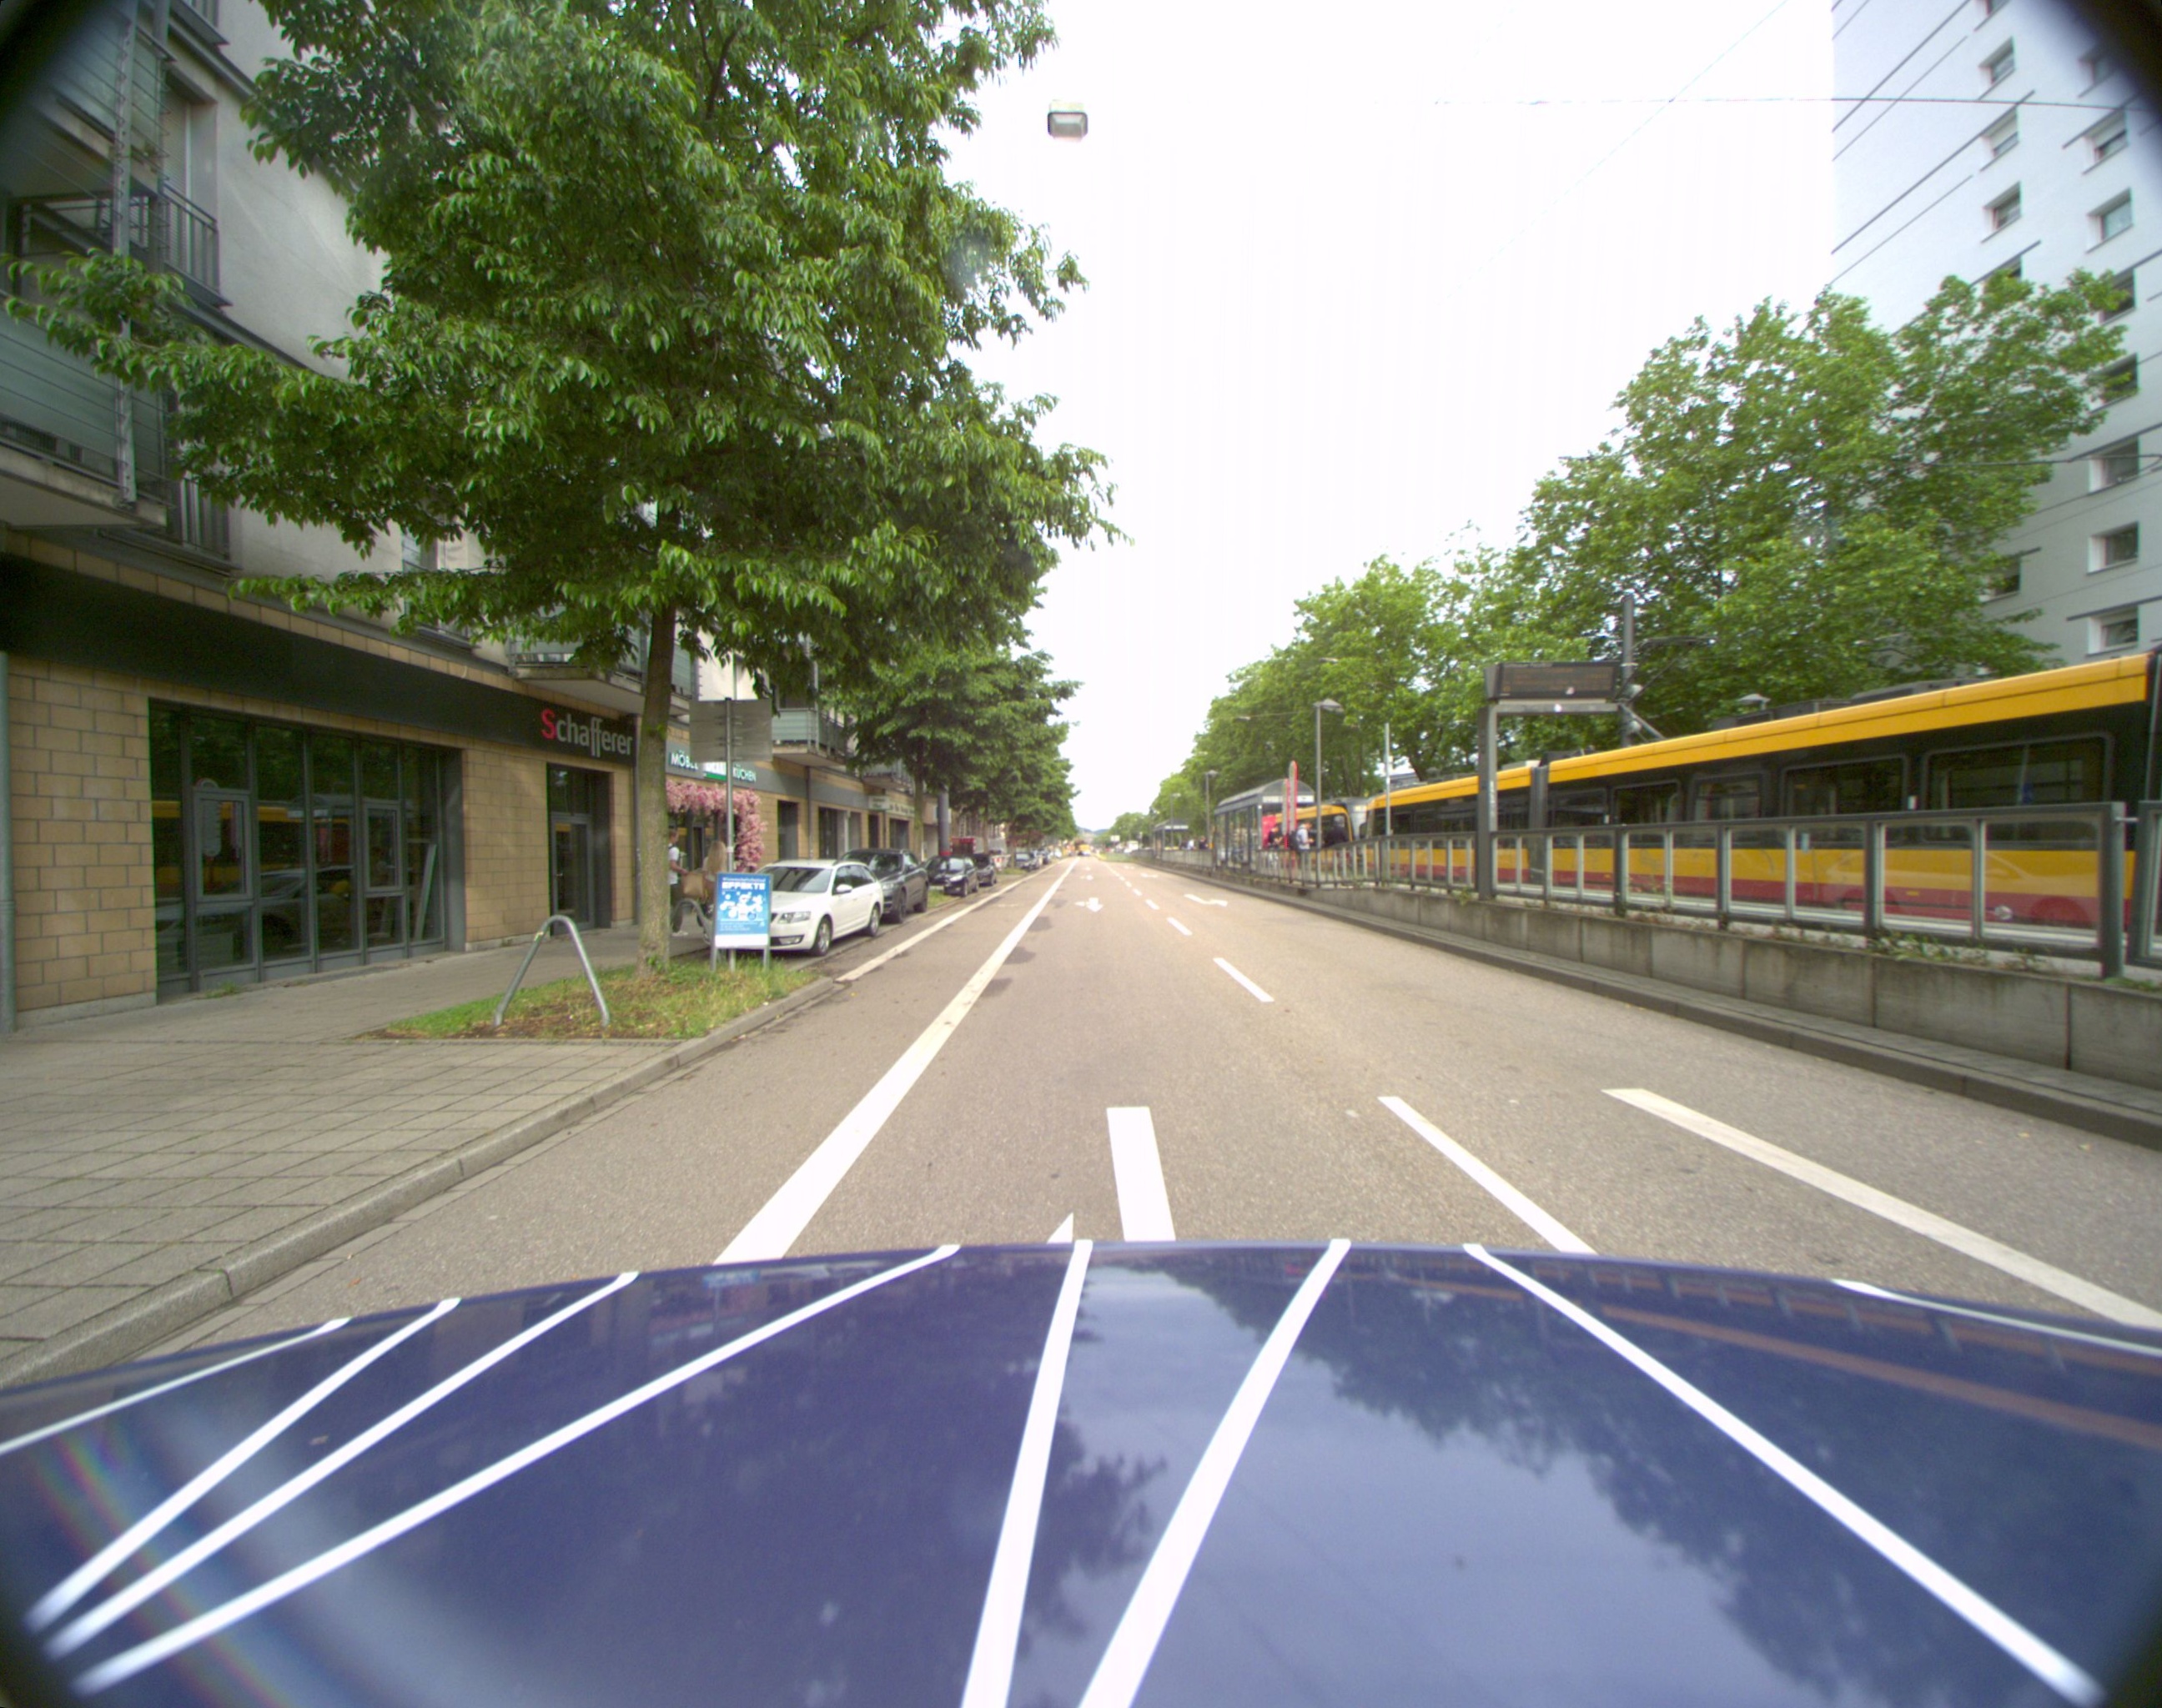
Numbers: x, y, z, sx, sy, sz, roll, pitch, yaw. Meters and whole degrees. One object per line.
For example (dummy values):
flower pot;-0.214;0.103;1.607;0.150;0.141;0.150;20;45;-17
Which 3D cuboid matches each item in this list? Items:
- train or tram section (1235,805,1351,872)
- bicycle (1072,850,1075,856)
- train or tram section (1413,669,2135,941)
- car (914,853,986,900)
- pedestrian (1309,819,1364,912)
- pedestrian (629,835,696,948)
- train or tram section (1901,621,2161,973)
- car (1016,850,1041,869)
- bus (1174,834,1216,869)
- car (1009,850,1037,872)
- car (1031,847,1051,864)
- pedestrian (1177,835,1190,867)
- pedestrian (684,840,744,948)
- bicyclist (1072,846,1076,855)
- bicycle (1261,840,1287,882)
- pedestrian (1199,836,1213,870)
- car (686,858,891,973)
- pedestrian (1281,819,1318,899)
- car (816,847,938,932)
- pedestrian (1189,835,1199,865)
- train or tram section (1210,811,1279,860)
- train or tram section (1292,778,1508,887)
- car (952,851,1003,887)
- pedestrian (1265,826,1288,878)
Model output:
train or tram section;13.001;-0.953;48.638;3.067;3.511;15.769;-2;1;1
bicycle;-1.535;-0.201;157.774;0.613;1.116;2.050;-2;1;1
train or tram section;12.624;-0.762;17.803;3.067;3.511;15.292;-2;1;1
car;-4.620;0.737;27.377;1.680;1.433;4.407;2;1;2
pedestrian;5.656;0.243;16.818;0.756;2.002;0.816;-3;2;-36
pedestrian;-7.123;0.624;12.963;0.676;1.880;0.737;0;1;2
train or tram section;12.442;-0.546;2.239;3.067;3.568;15.846;-2;1;1
car;-4.298;0.443;62.606;1.755;1.452;4.279;1;1;0
bus;7.049;-0.186;47.456;1.998;2.002;3.999;-2;1;1
car;-4.298;0.486;56.522;1.755;1.452;4.279;1;1;0
car;-4.100;0.143;78.826;1.837;1.720;4.279;1;1;0
pedestrian;6.565;-0.169;48.641;0.676;2.002;0.588;-2;1;-2
pedestrian;-6.234;0.664;12.936;0.617;1.795;0.737;0;1;2
bicyclist;-1.534;-0.711;157.543;0.751;1.777;0.838;-2;1;1
bicycle;5.853;0.194;23.039;0.420;1.215;1.289;-2;1;0
pedestrian;6.006;-0.049;36.484;0.513;1.623;0.730;-2;1;2
car;-4.714;0.887;13.009;1.680;1.490;4.389;2;1;2
pedestrian;5.691;0.127;19.739;0.753;2.002;0.819;-2;2;24
car;-4.752;0.735;18.423;1.716;1.707;4.710;2;1;-1
pedestrian;6.139;-0.208;41.321;0.480;1.623;0.392;-2;1;2
train or tram section;13.198;-1.468;62.787;3.100;3.541;12.537;-2;1;1
train or tram section;12.821;-0.842;33.115;3.067;3.511;15.292;-2;1;1
car;-4.707;0.630;35.144;1.802;1.447;4.387;2;1;-1
pedestrian;6.224;-0.063;24.222;0.532;1.623;0.471;-2;1;-2
